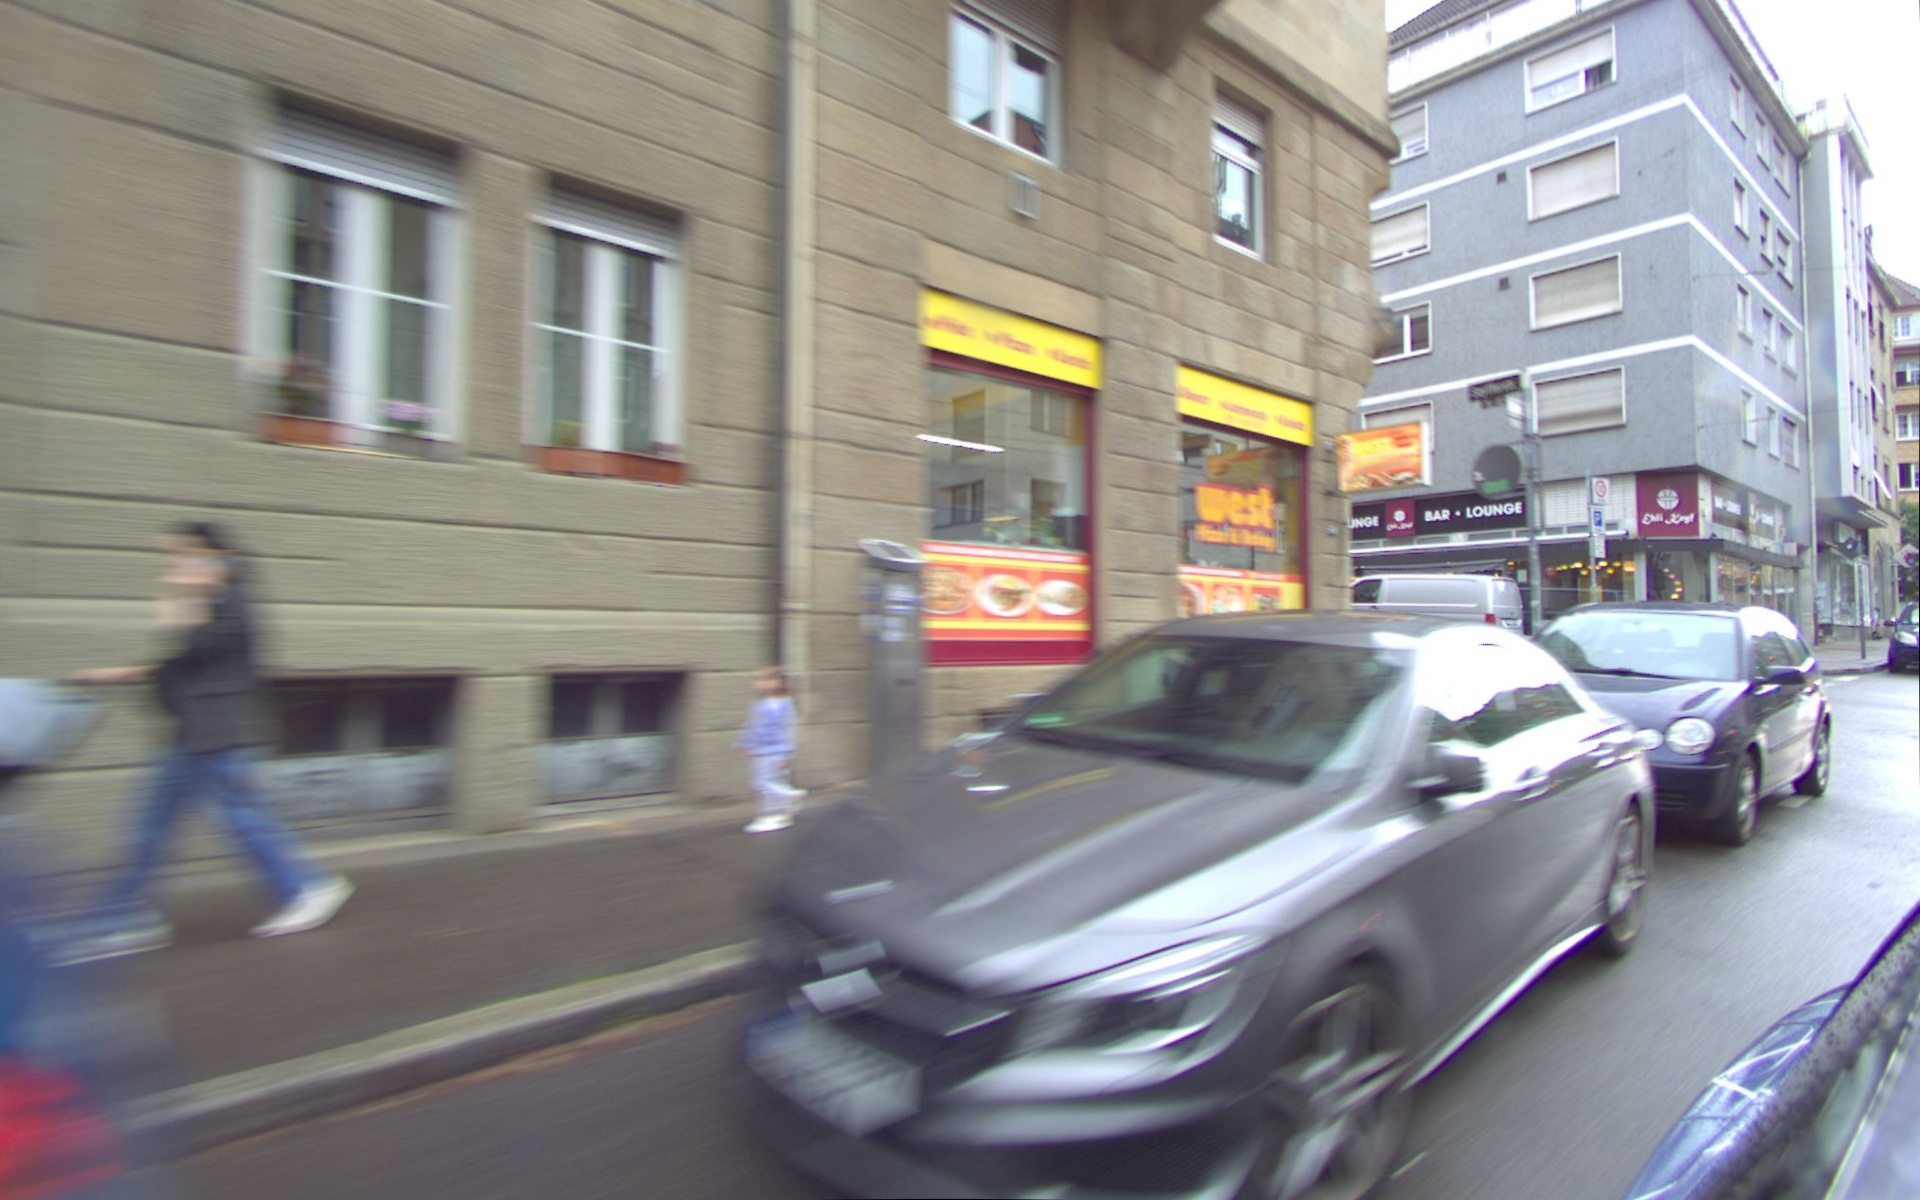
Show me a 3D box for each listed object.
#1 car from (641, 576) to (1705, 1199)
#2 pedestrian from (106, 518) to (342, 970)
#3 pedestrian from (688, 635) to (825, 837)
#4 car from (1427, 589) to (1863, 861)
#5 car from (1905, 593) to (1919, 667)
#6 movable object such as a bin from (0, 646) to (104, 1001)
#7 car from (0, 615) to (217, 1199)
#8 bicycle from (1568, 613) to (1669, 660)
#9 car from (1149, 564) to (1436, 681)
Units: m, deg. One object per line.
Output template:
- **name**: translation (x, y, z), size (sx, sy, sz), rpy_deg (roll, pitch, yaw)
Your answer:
- **car**: translation (1.270, 0.651, 3.812), size (4.411, 1.404, 1.756), rpy_deg (0, 1, -44)
- **pedestrian**: translation (-2.854, 0.495, 3.933), size (0.697, 1.555, 0.562), rpy_deg (0, -1, -40)
- **pedestrian**: translation (-1.180, 0.750, 5.874), size (0.616, 1.063, 0.511), rpy_deg (0, -1, -40)
- **car**: translation (5.102, 0.675, 7.360), size (3.723, 1.462, 1.674), rpy_deg (0, 1, -40)
- **car**: translation (21.314, 0.612, 21.489), size (1.692, 1.501, 3.866), rpy_deg (1, 1, 45)
- **movable object such as a bin**: translation (-3.531, 0.734, 3.314), size (1.104, 1.117, 0.666), rpy_deg (0, -1, -41)
- **car**: translation (-2.879, 0.743, 0.475), size (3.949, 1.416, 1.709), rpy_deg (0, 0, -42)
- **bicycle**: translation (14.307, 0.776, 22.018), size (0.523, 0.985, 1.752), rpy_deg (0, -1, -39)
- **car**: translation (6.092, 0.303, 19.033), size (1.965, 1.884, 4.787), rpy_deg (0, 2, -41)
